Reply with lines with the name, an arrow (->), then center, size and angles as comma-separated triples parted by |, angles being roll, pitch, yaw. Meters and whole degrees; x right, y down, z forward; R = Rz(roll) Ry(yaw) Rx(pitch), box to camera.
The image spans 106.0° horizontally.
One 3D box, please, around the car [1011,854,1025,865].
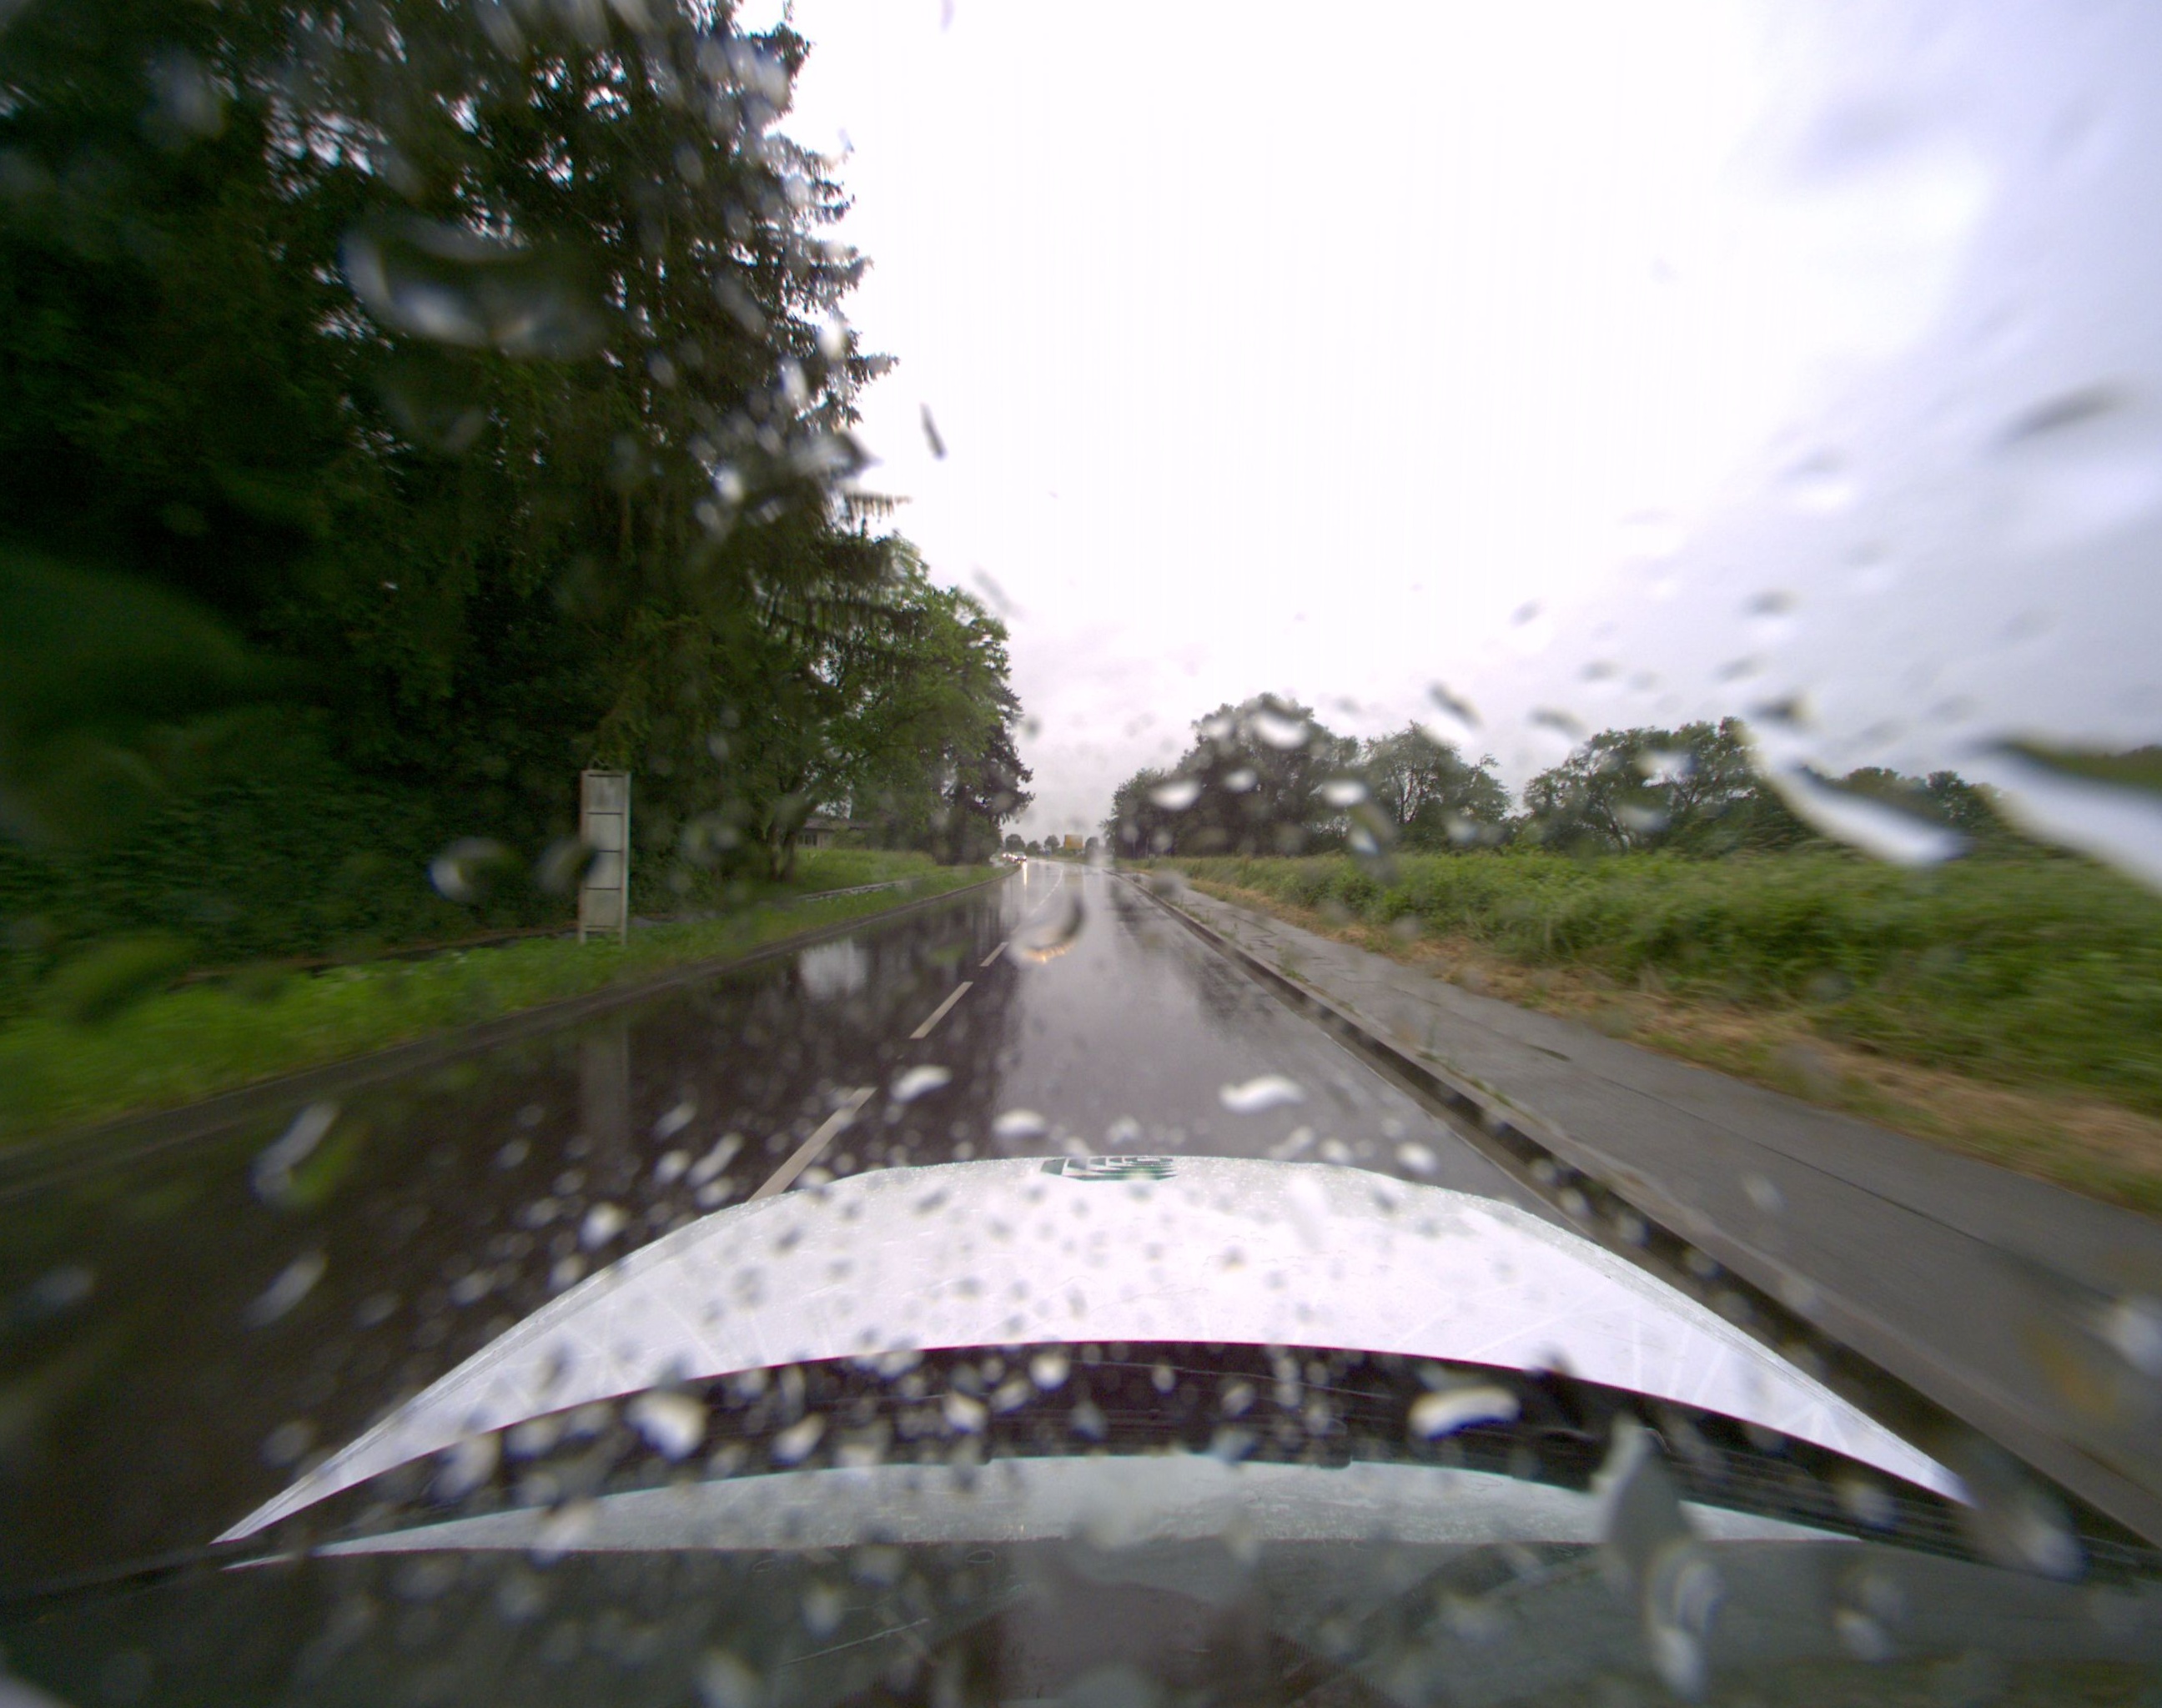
car -> -9.950, 0.893, 127.815 | 1.761, 1.552, 3.986 | 0, 1, -11
